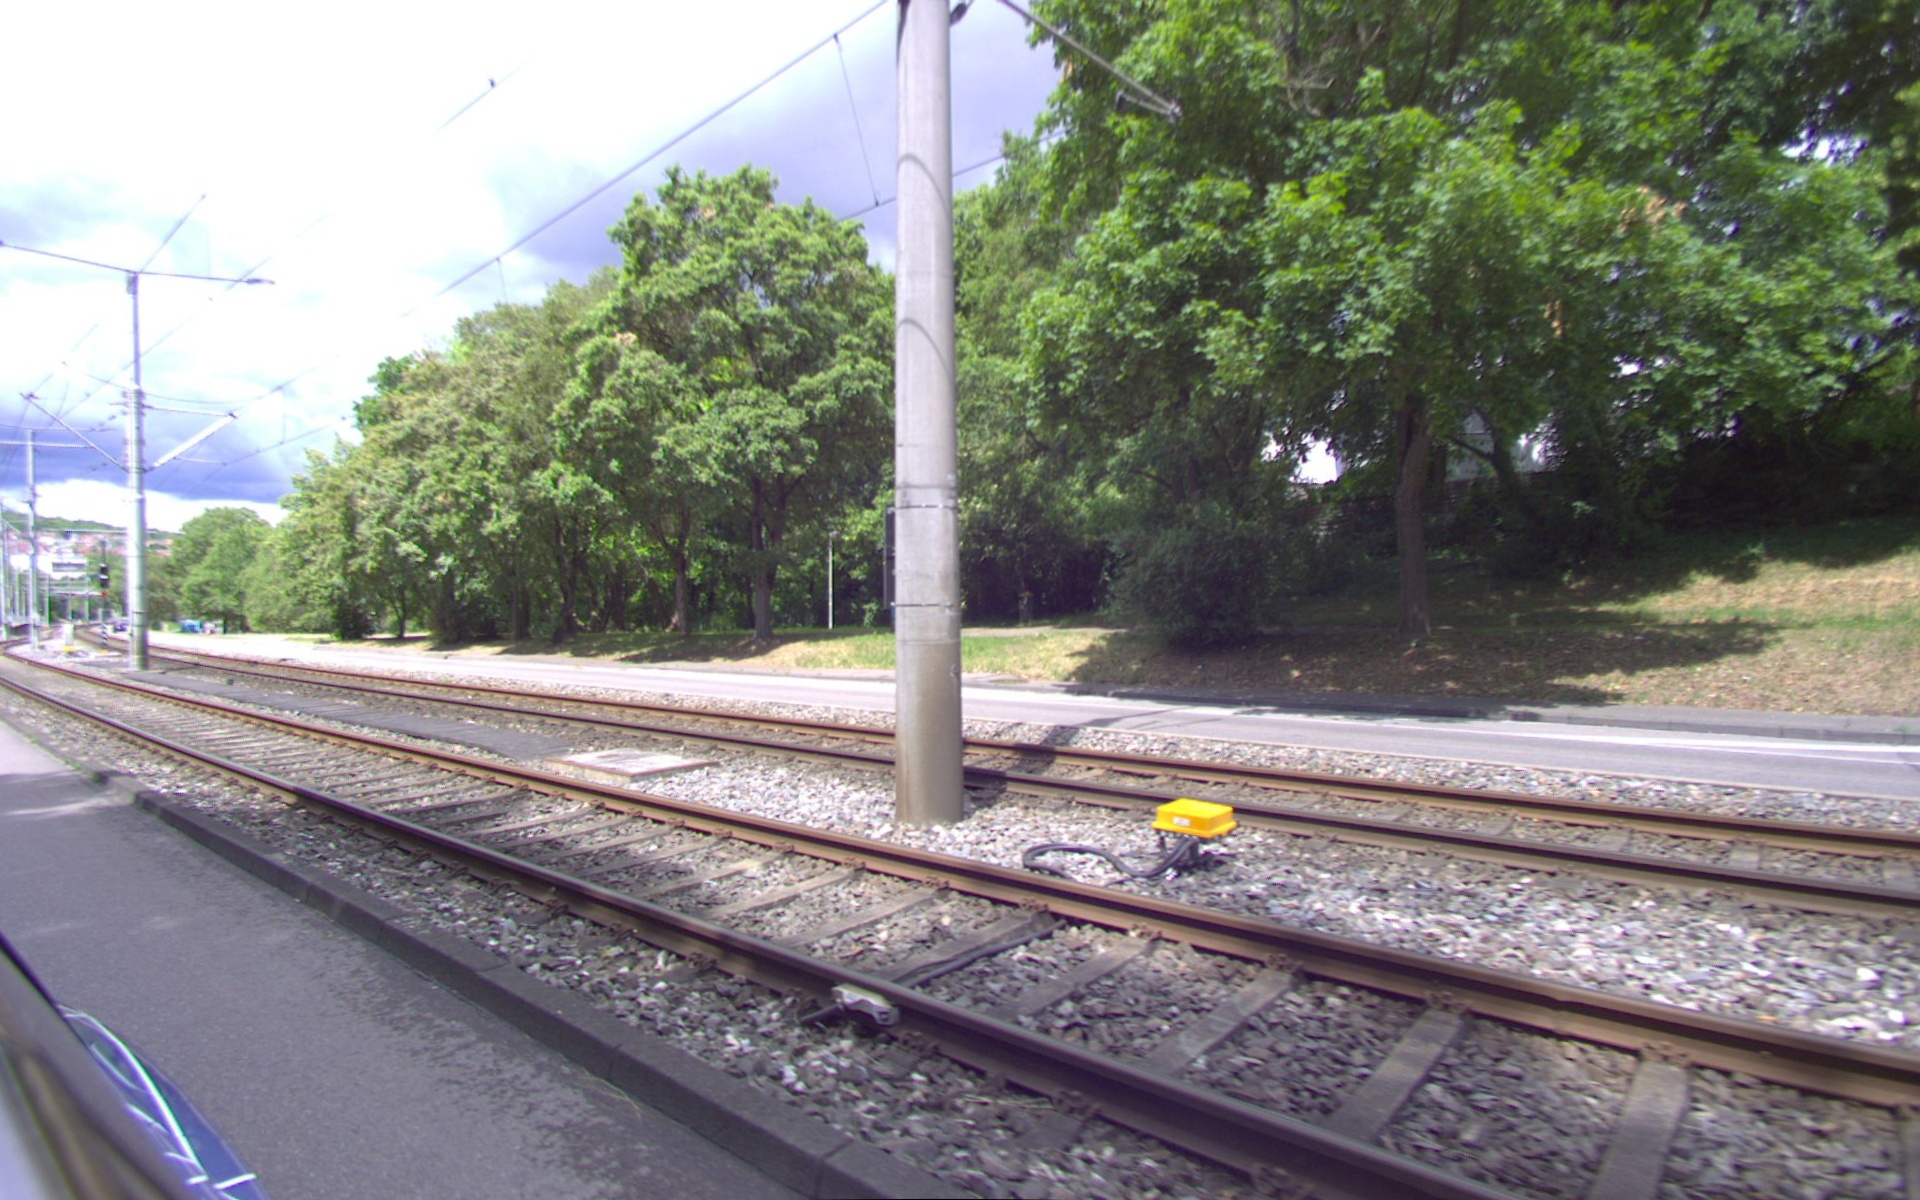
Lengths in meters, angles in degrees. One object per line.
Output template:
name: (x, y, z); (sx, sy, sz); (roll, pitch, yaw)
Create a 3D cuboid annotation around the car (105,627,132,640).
car: (-91.347, 3.608, 109.891); (1.814, 1.402, 4.864); (2, -3, -45)
